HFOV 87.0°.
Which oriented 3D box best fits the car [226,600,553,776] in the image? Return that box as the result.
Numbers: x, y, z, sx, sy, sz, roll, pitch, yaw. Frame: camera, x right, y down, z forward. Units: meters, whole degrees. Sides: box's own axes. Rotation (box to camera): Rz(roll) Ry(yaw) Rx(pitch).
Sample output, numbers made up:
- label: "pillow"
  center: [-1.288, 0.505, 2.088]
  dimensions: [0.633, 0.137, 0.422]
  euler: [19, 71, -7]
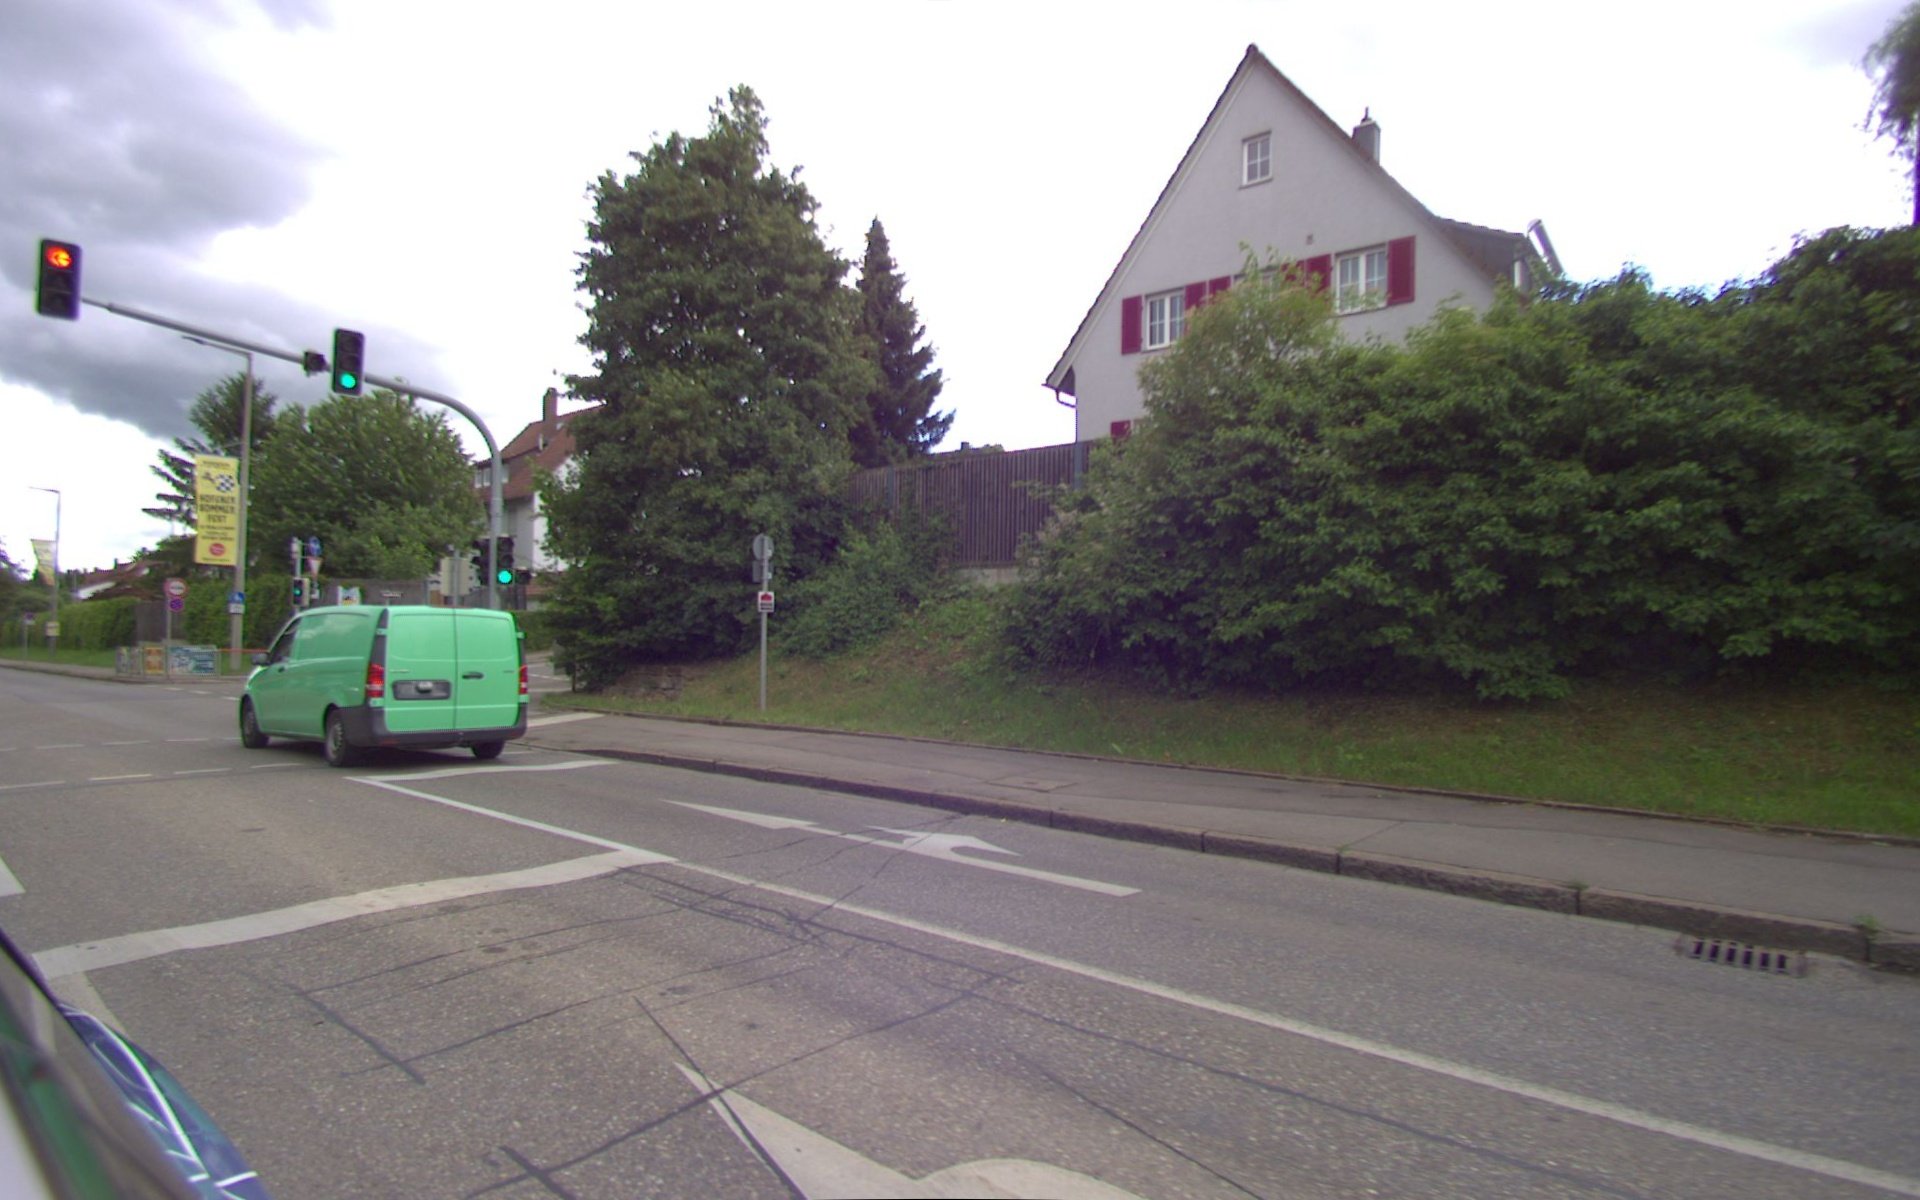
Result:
- label: "car"
  center: [-7.345, 1.027, 12.828]
  dimensions: [4.726, 1.824, 2.037]
  euler: [-2, -5, 40]
